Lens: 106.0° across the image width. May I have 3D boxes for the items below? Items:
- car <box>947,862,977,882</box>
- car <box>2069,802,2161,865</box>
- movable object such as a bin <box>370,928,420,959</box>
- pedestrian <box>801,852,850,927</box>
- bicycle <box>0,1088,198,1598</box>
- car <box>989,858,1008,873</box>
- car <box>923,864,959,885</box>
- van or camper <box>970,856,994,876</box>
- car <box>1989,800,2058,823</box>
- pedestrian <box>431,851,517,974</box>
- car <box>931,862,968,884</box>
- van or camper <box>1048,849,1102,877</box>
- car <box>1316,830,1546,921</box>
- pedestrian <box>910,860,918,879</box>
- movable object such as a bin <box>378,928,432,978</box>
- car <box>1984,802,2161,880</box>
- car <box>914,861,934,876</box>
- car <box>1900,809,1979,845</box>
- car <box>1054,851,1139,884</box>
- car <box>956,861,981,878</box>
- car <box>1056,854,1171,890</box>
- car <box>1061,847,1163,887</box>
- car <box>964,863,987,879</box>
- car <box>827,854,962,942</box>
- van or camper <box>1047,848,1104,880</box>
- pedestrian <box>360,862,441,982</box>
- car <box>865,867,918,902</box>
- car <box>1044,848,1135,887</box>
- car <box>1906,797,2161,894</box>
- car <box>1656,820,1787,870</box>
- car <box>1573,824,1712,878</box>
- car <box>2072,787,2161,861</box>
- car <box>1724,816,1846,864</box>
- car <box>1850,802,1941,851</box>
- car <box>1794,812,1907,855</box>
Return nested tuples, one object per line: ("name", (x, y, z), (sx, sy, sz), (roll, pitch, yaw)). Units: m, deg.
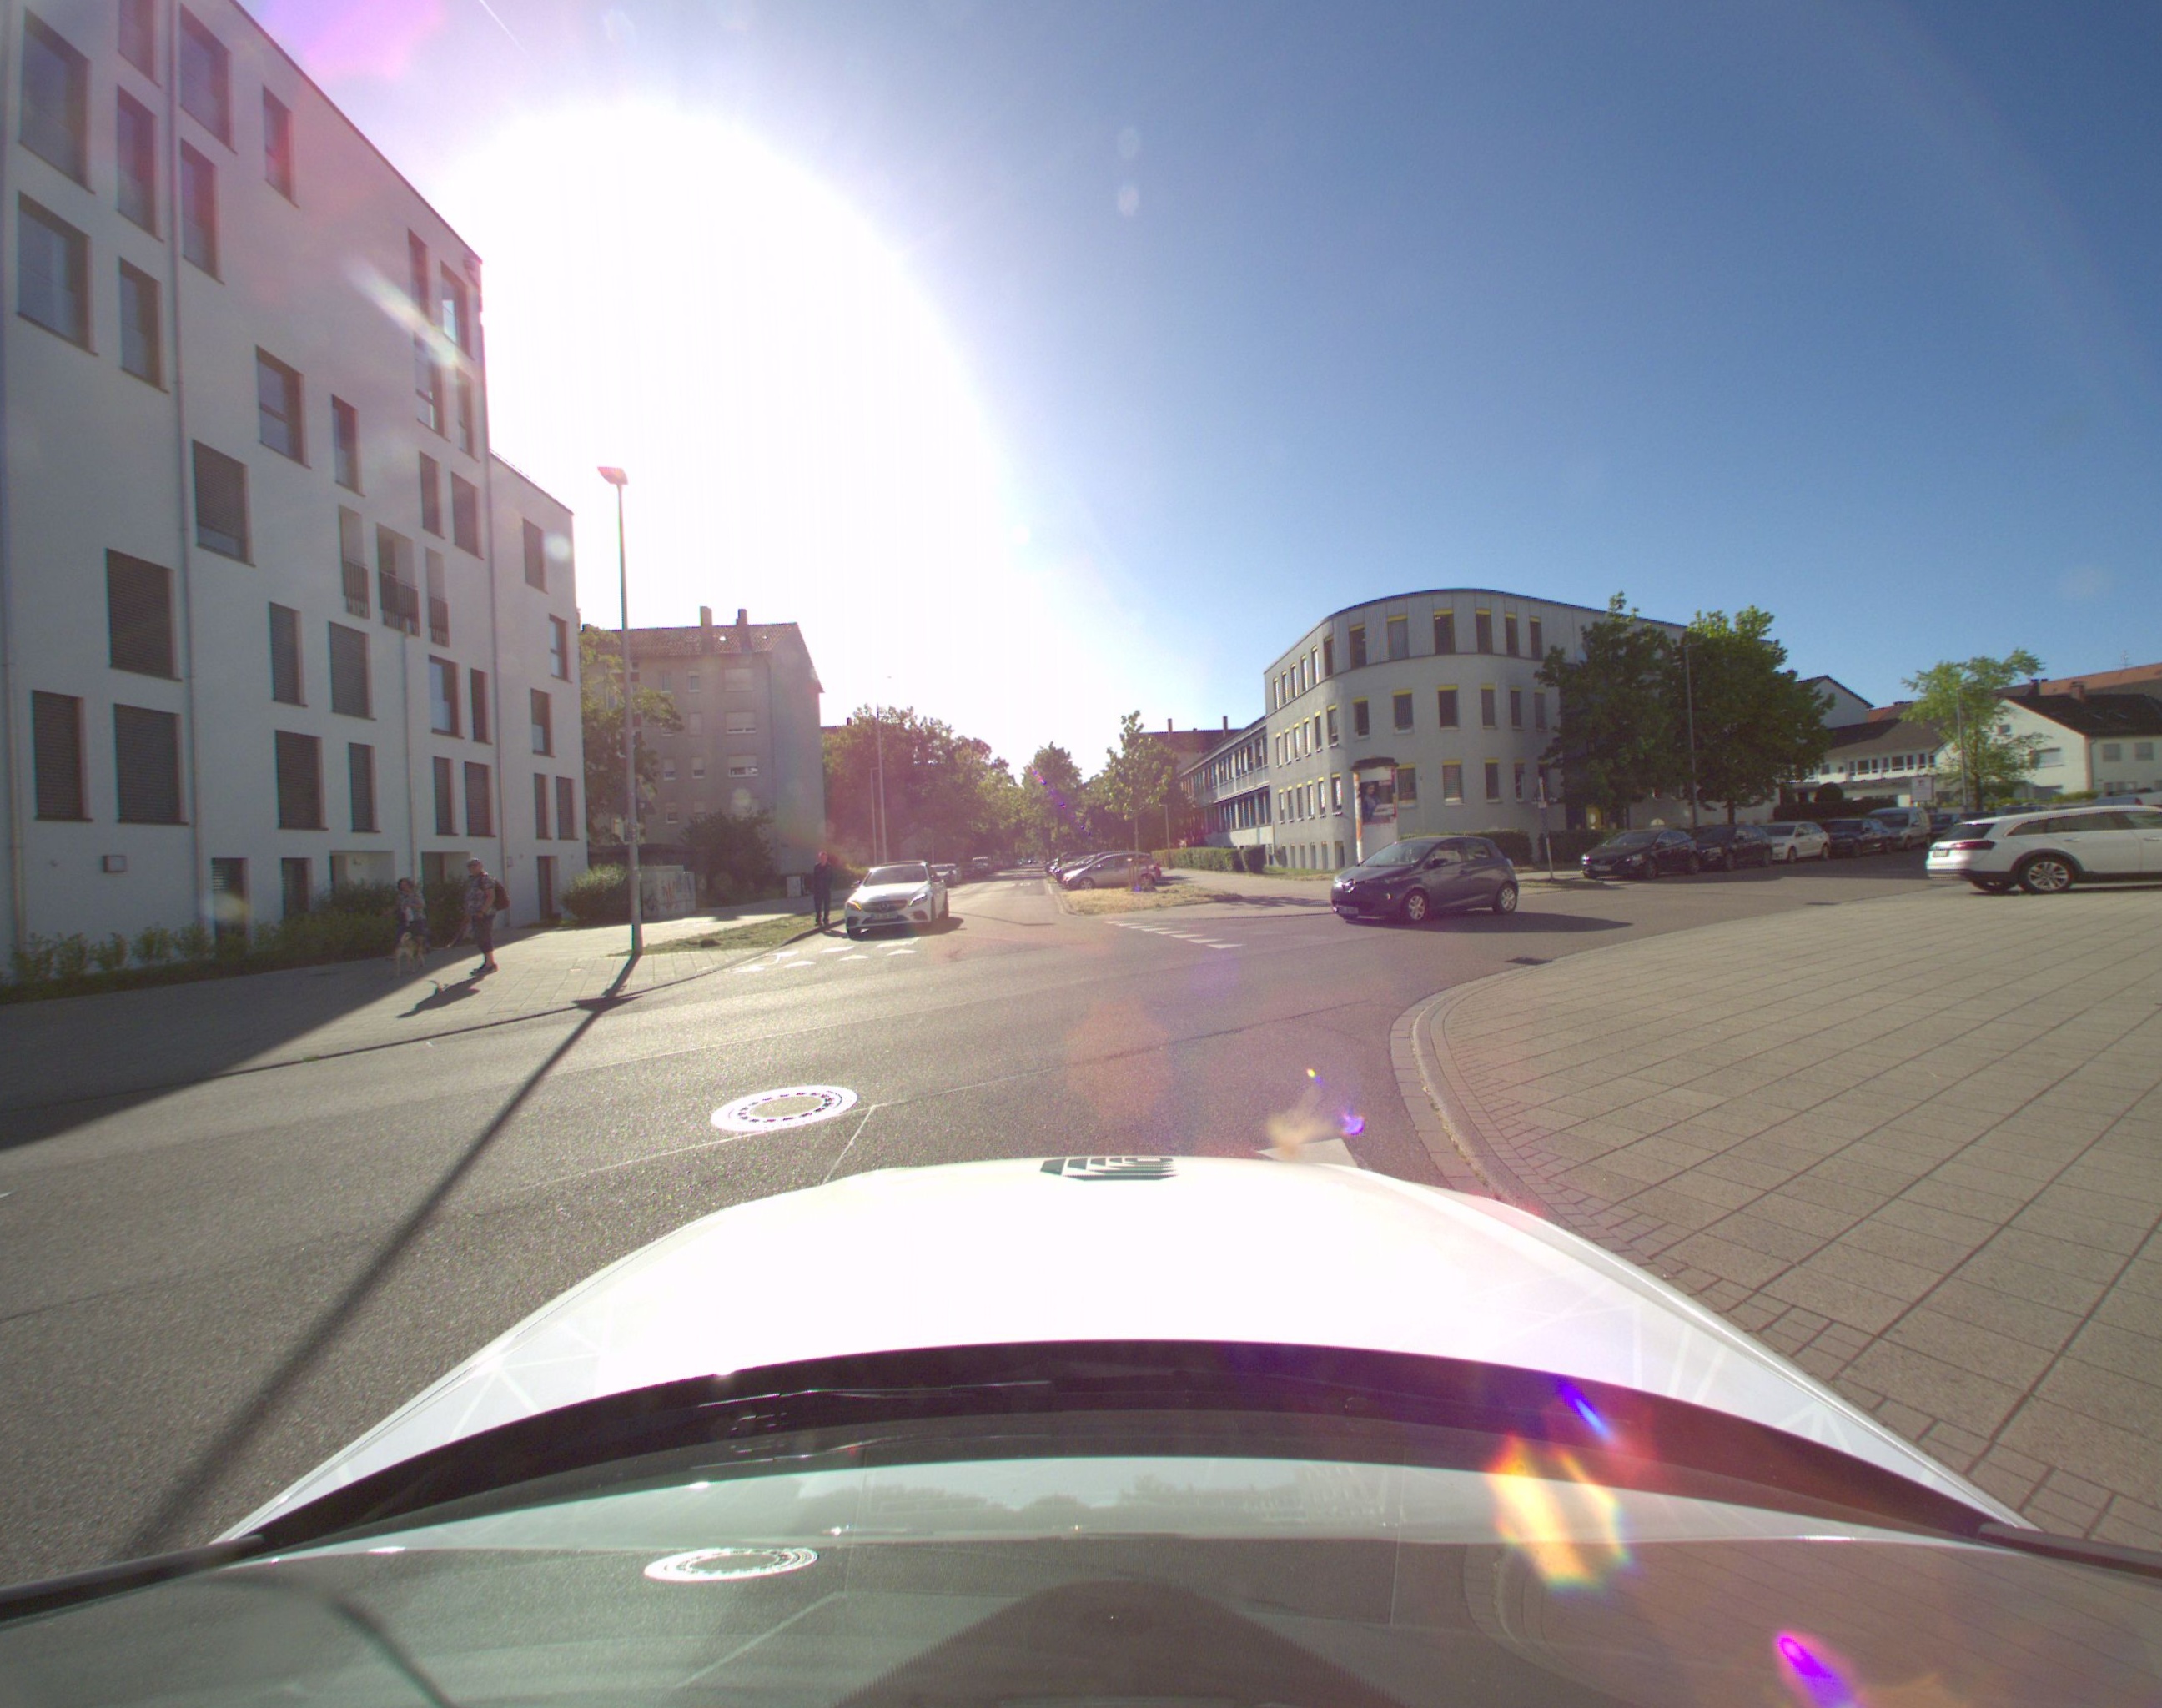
("car", (-9.246, 1.406, 63.477), (1.838, 1.398, 3.997), (-3, -1, -2))
("car", (28.191, -0.616, 20.395), (3.945, 1.489, 1.626), (-5, -4, 30))
("movable object such as a bin", (-13.350, 1.737, 15.859), (0.269, 0.541, 0.689), (-2, -1, 18))
("pedestrian", (-6.109, 0.835, 19.500), (0.870, 1.714, 0.977), (-3, 0, -7))
("bicycle", (-2.689, 1.138, 1.242), (0.547, 1.012, 1.919), (-2, -1, 1))
("car", (-11.472, 1.557, 113.443), (1.984, 2.014, 4.005), (-1, -1, 5))
("car", (-8.672, 1.267, 50.675), (1.625, 1.234, 4.188), (-1, -1, -2))
("van or camper", (-10.459, 1.289, 86.057), (1.987, 2.014, 3.999), (-1, -1, 0))
("car", (69.609, -3.118, 60.160), (3.173, 1.556, 1.802), (-1, -1, -5))
("pedestrian", (-9.652, 0.903, 12.988), (0.845, 1.885, 0.787), (0, -1, -13))
("car", (-9.007, 1.305, 56.157), (1.988, 1.398, 3.997), (-3, -1, -2))
("van or camper", (-0.518, 0.721, 62.950), (3.979, 1.772, 1.997), (-5, -1, -4))
("car", (6.664, 0.348, 15.460), (4.149, 1.504, 1.826), (-1, -1, -29))
("pedestrian", (-14.881, 1.415, 72.656), (0.634, 1.664, 0.697), (-3, 0, -9))
("movable object such as a bin", (-10.818, 1.574, 13.054), (0.272, 0.680, 0.845), (-3, 0, -12))
("car", (22.031, -0.282, 16.812), (4.119, 1.497, 1.834), (-3, -2, 28))
("car", (-14.545, 1.358, 75.667), (1.270, 1.225, 2.662), (-3, 0, -1))
("car", (38.480, -1.202, 36.467), (4.013, 1.440, 1.587), (-3, 1, -31))
("car", (0.766, 0.701, 42.372), (4.197, 1.596, 1.997), (-1, -1, -5))
("car", (-9.930, 1.370, 72.092), (1.990, 1.408, 3.901), (-1, -1, -5))
("car", (1.401, 0.780, 36.387), (4.866, 1.274, 1.724), (-3, -1, -7))
("car", (1.272, 0.549, 34.342), (4.083, 1.492, 1.725), (-2, -1, -6))
("car", (-10.329, 1.646, 79.926), (1.838, 1.398, 3.997), (-3, -1, -2))
("car", (-4.027, 0.875, 18.449), (1.880, 1.504, 4.637), (-6, 1, 0))
("van or camper", (-0.414, 0.749, 60.071), (3.979, 2.013, 1.997), (-5, -1, -4))
("pedestrian", (-12.798, 1.234, 15.325), (0.765, 2.120, 0.964), (-2, 1, 40))
("car", (-8.153, 1.288, 35.348), (1.664, 1.420, 3.993), (-1, -1, -5))
("car", (0.369, 0.638, 39.519), (4.272, 1.765, 1.996), (-1, -1, -6))
("car", (18.914, -0.225, 14.951), (4.812, 1.464, 1.985), (-6, -1, 26))
("car", (21.147, -0.303, 26.868), (4.394, 1.479, 1.896), (-2, 0, -30))
("car", (16.807, -0.117, 24.330), (4.237, 1.410, 1.777), (-3, 1, -30))
("car", (31.068, -0.942, 22.290), (4.476, 1.898, 2.060), (-4, -3, 20))
("car", (25.392, -0.514, 29.341), (4.639, 1.530, 1.896), (-2, 0, -30))
("car", (34.248, -1.175, 34.215), (4.356, 1.838, 1.676), (-3, 0, -31))
("car", (29.847, -0.796, 31.571), (4.622, 1.439, 1.723), (-3, 0, -27))
